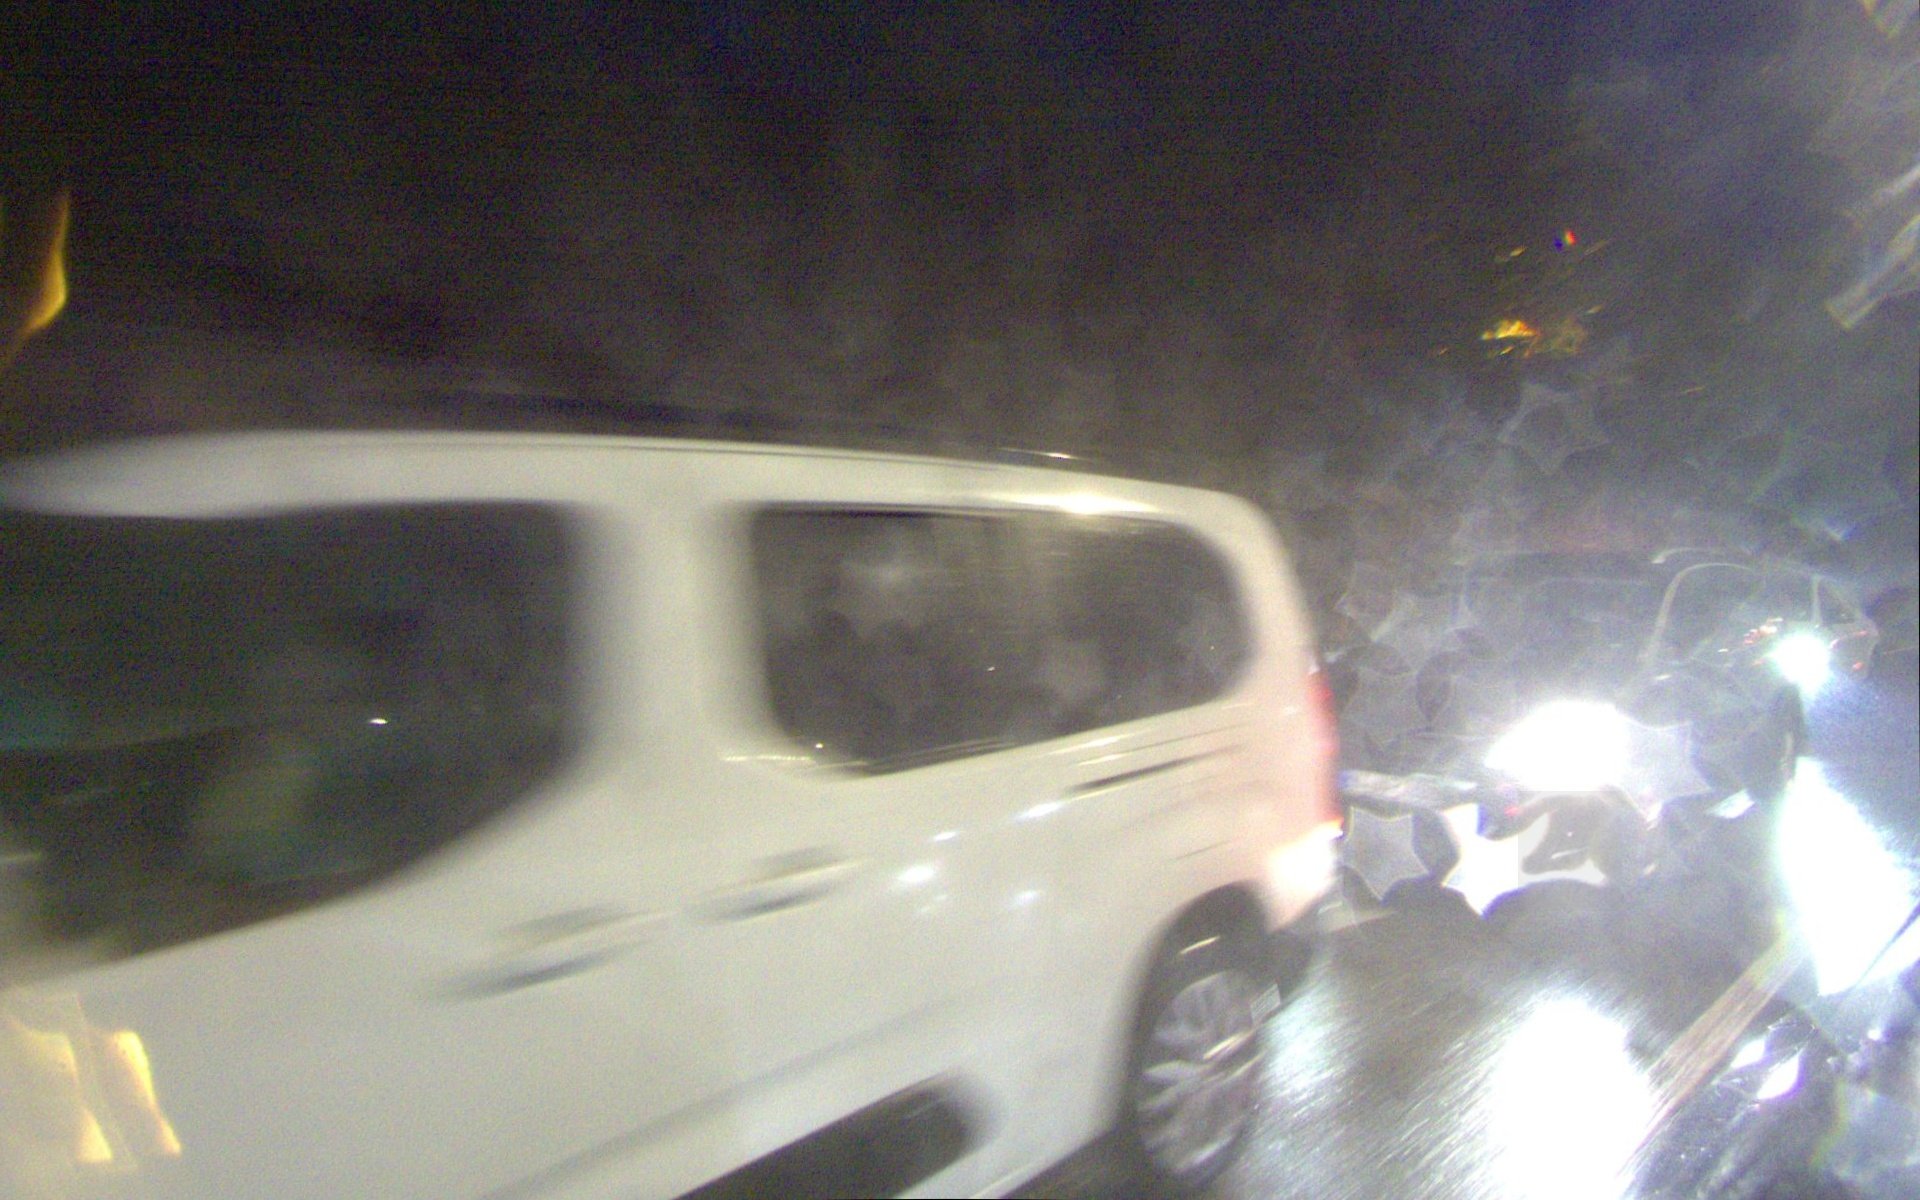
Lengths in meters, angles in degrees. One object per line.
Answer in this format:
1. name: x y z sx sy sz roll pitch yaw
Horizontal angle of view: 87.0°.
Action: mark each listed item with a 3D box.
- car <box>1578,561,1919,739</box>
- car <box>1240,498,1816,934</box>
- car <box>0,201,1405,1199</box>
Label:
1. car: 8.843 0.393 11.170 4.609 1.572 1.998 -1 1 -39
2. car: 3.713 0.449 6.292 4.125 1.835 1.793 -1 0 -40
3. car: -1.082 0.397 2.140 4.805 1.608 1.876 -2 1 -42
